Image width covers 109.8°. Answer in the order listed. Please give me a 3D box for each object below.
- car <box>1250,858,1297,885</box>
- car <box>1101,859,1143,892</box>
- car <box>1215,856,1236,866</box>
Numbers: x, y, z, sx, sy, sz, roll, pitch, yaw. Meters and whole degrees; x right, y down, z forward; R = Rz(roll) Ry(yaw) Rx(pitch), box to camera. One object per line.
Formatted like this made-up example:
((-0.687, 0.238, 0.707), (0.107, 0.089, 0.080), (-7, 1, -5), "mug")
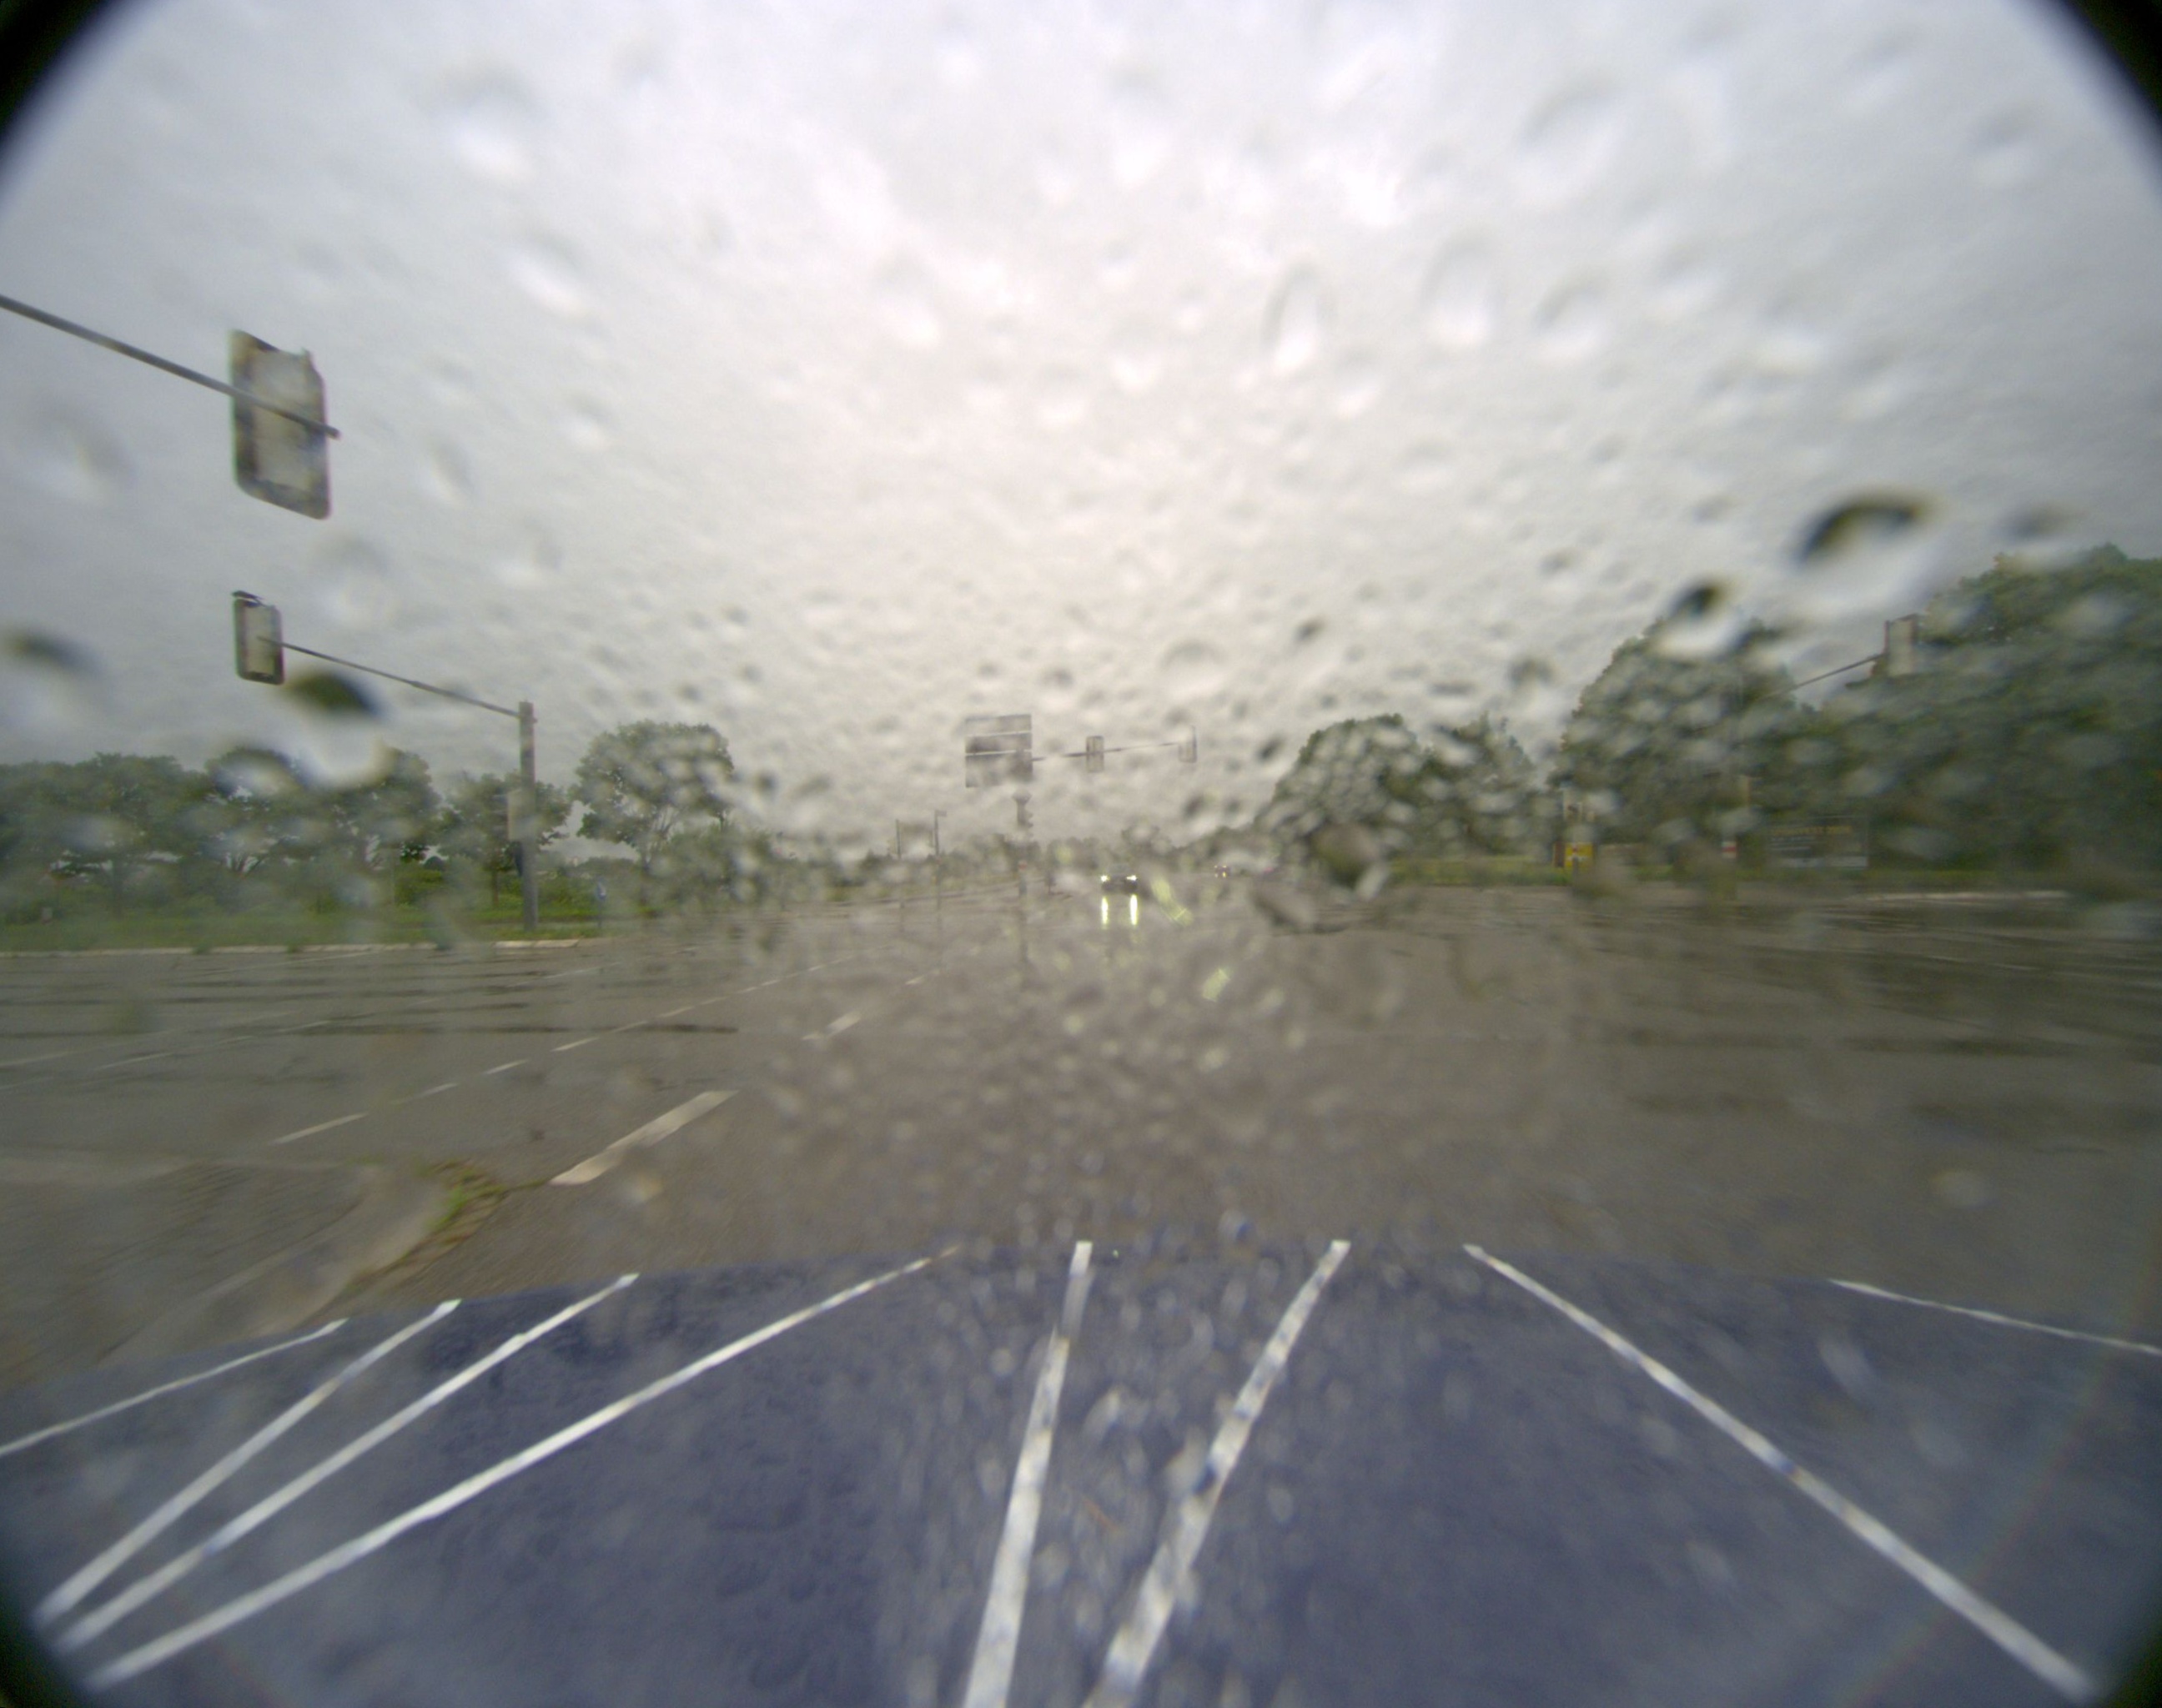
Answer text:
((11.130, 0.960, 44.149), (1.713, 1.457, 4.453), (-1, 0, 2), "car")
((2.051, 1.068, 39.369), (1.916, 1.575, 4.103), (-1, 0, 0), "car")
((25.015, 1.252, 131.529), (1.912, 1.678, 4.111), (-1, 0, 36), "car")
